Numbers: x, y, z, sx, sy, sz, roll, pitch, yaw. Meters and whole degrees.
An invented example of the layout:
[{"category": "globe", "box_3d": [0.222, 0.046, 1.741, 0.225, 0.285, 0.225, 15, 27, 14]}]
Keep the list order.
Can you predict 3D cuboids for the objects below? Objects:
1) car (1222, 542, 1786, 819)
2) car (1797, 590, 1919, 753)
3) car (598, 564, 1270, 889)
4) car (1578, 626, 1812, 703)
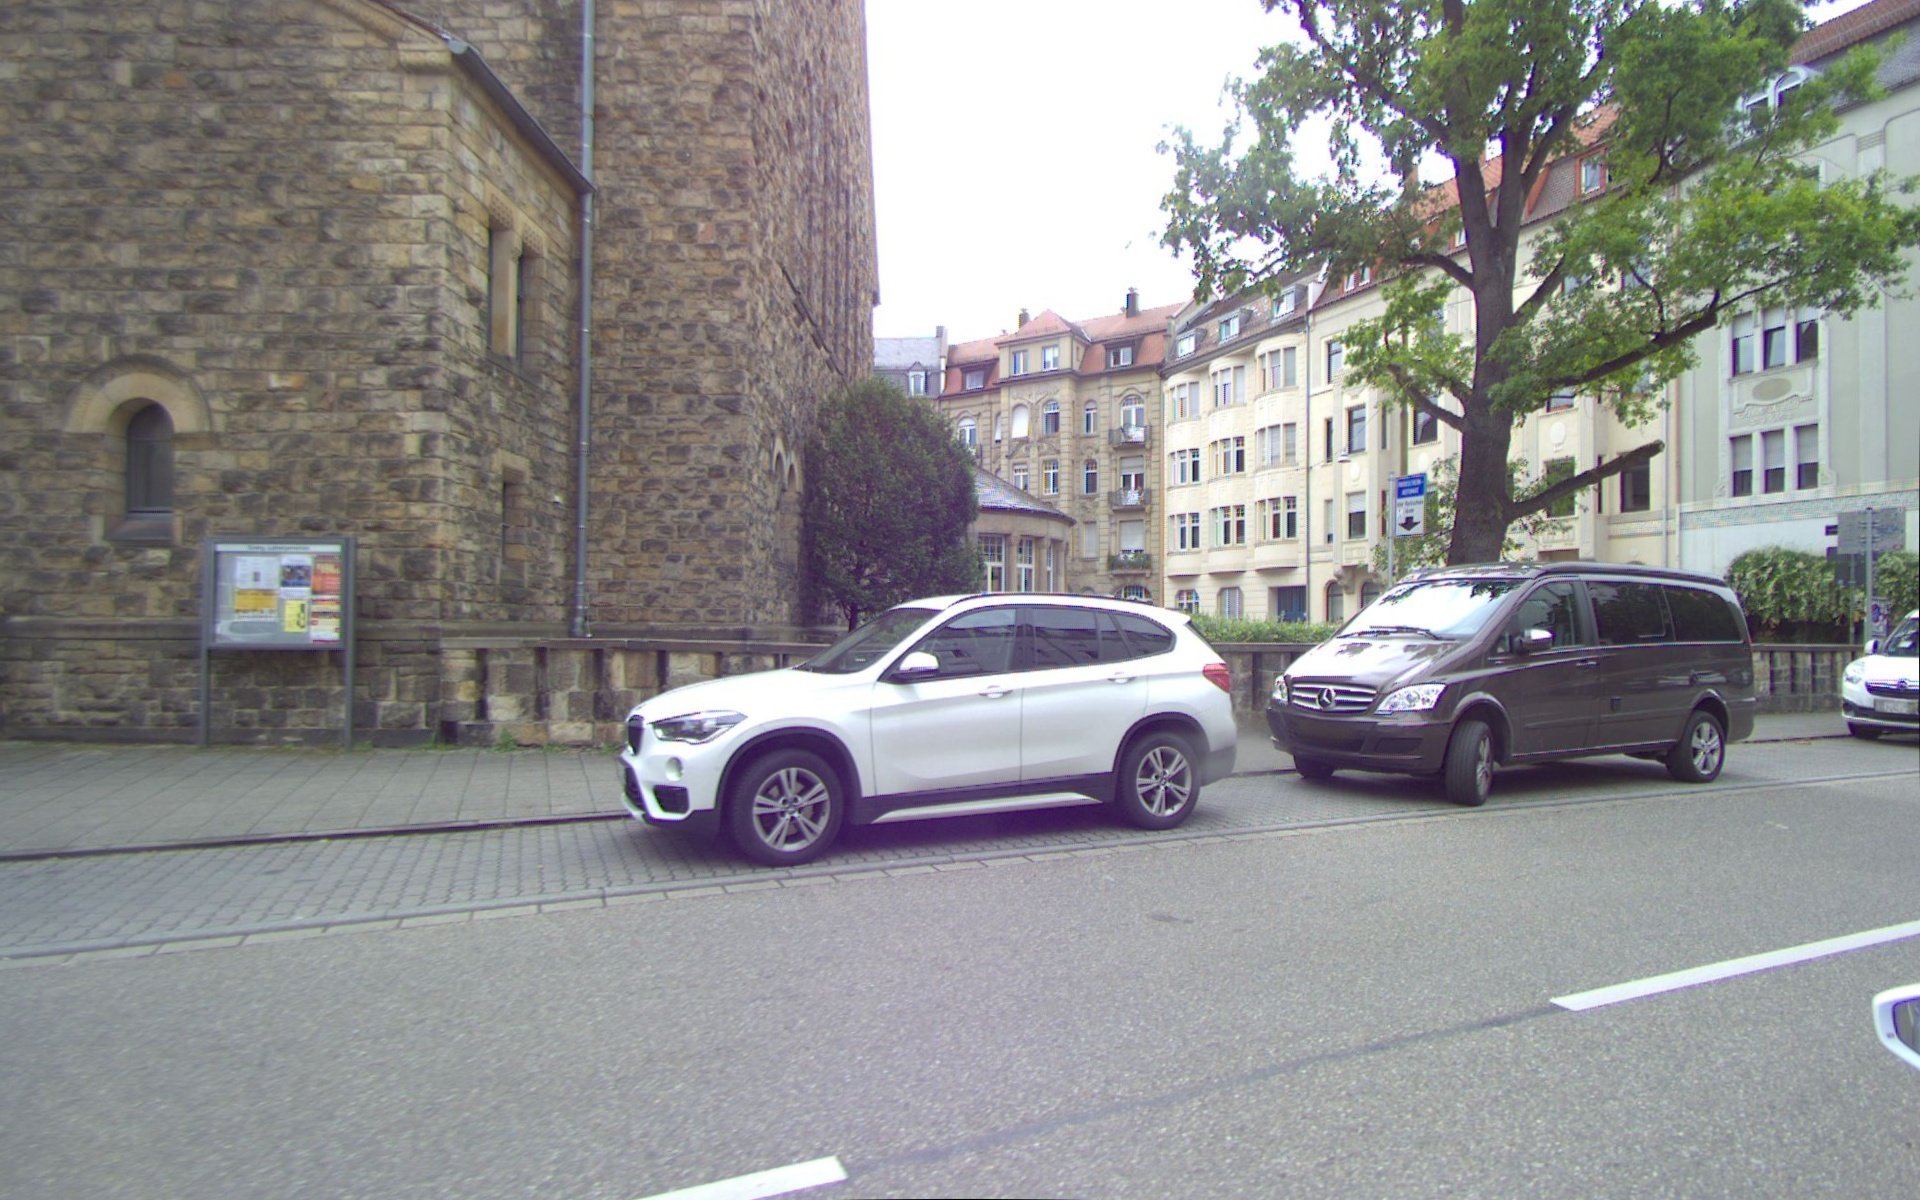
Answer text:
[{"category": "car", "box_3d": [5.138, 0.651, 9.404, 5.112, 2.040, 2.008, 1, -1, -25]}, {"category": "car", "box_3d": [13.563, 0.905, 13.385, 4.482, 1.965, 1.840, 1, -1, -22]}, {"category": "car", "box_3d": [-0.151, 0.704, 7.053, 4.371, 1.711, 1.838, 1, -1, -25]}, {"category": "car", "box_3d": [16.879, 1.445, 23.302, 1.745, 1.627, 4.046, 2, -3, -25]}]
